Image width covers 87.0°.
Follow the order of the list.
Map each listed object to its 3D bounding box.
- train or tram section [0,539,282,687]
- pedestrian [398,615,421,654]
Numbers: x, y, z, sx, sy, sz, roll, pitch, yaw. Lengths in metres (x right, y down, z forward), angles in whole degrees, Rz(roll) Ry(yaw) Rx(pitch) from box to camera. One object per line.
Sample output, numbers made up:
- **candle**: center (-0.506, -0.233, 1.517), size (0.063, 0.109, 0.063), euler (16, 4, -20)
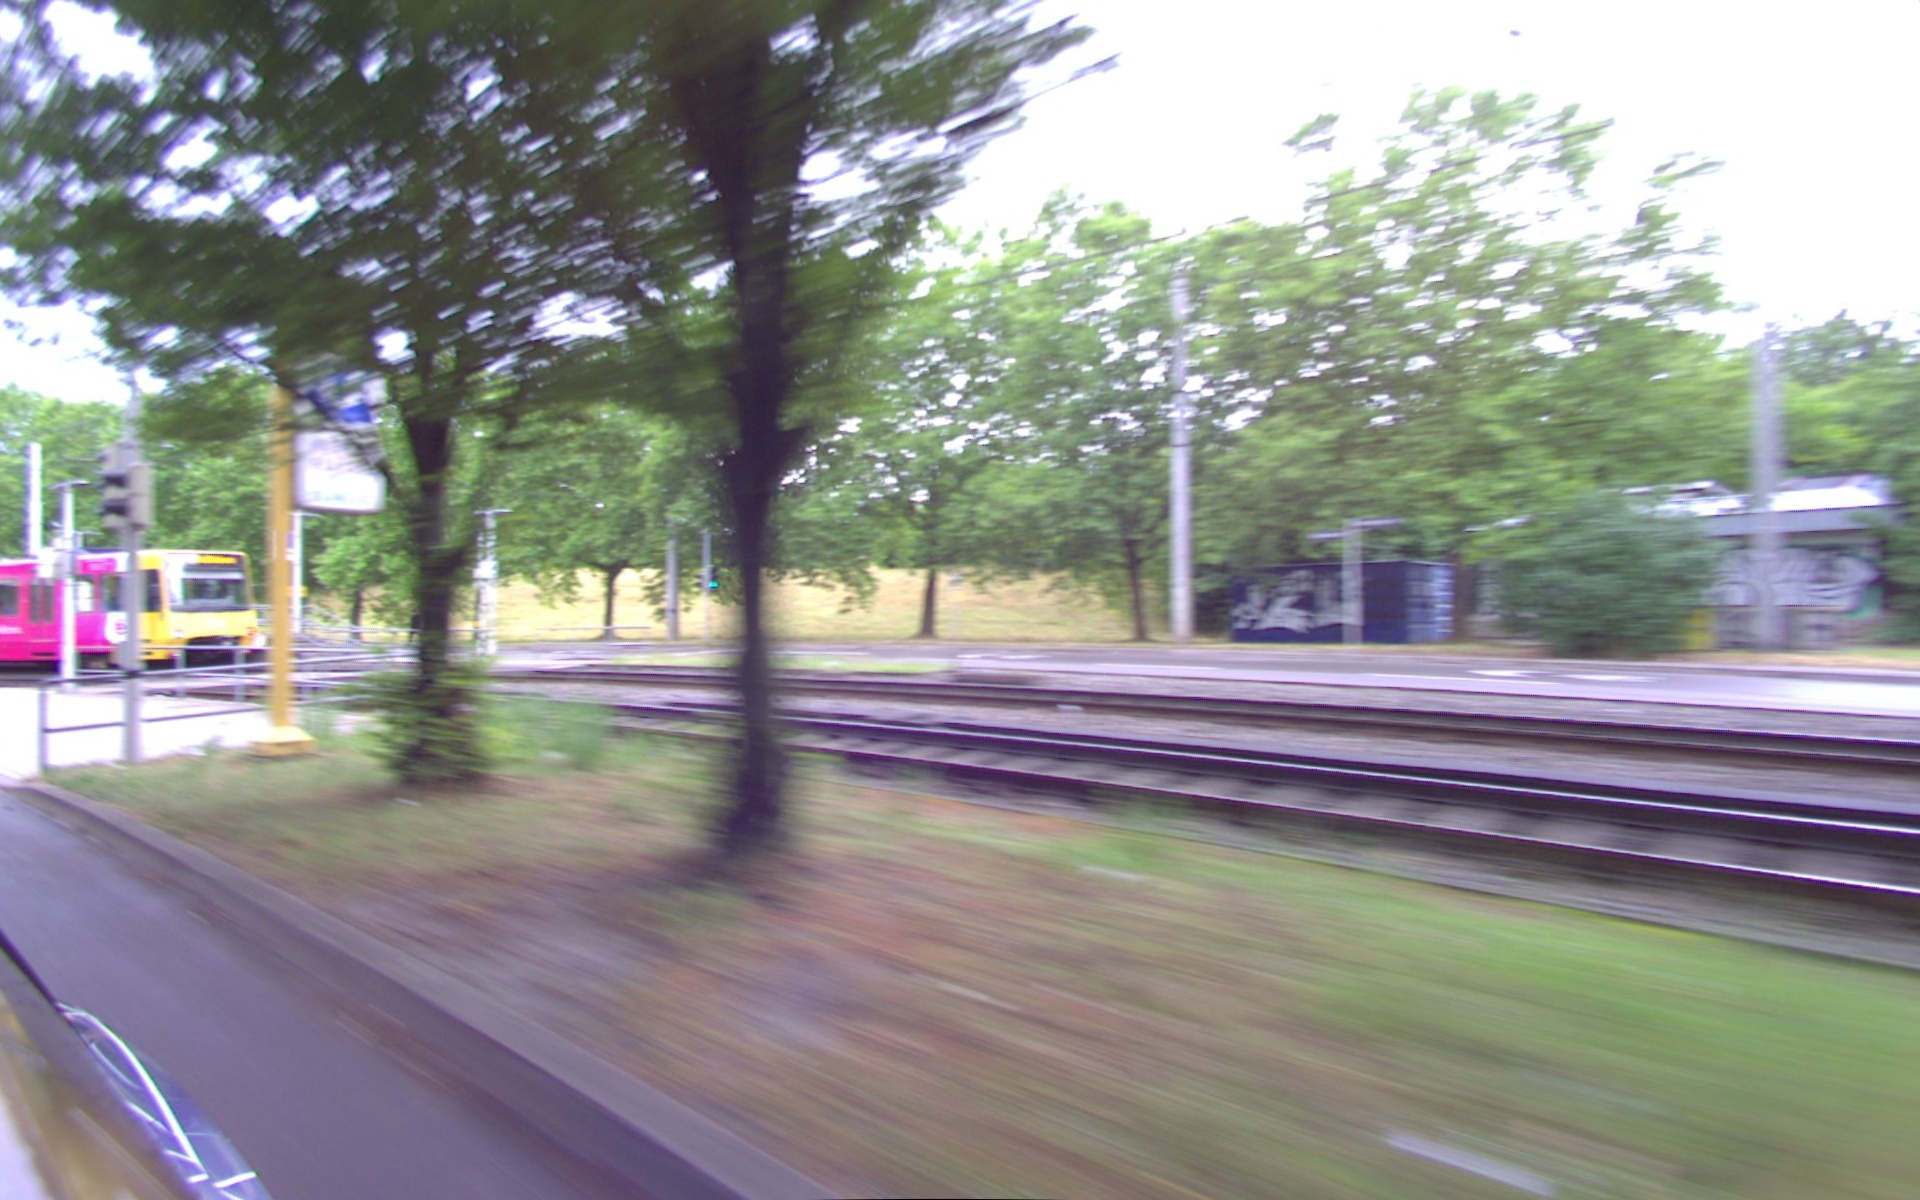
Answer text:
- **train or tram section**: center (-29.553, 0.423, 32.291), size (19.199, 3.990, 2.856), euler (-1, 2, 22)
- **pedestrian**: center (-27.027, 1.683, 49.673), size (0.762, 1.835, 0.722), euler (-2, 0, 36)
